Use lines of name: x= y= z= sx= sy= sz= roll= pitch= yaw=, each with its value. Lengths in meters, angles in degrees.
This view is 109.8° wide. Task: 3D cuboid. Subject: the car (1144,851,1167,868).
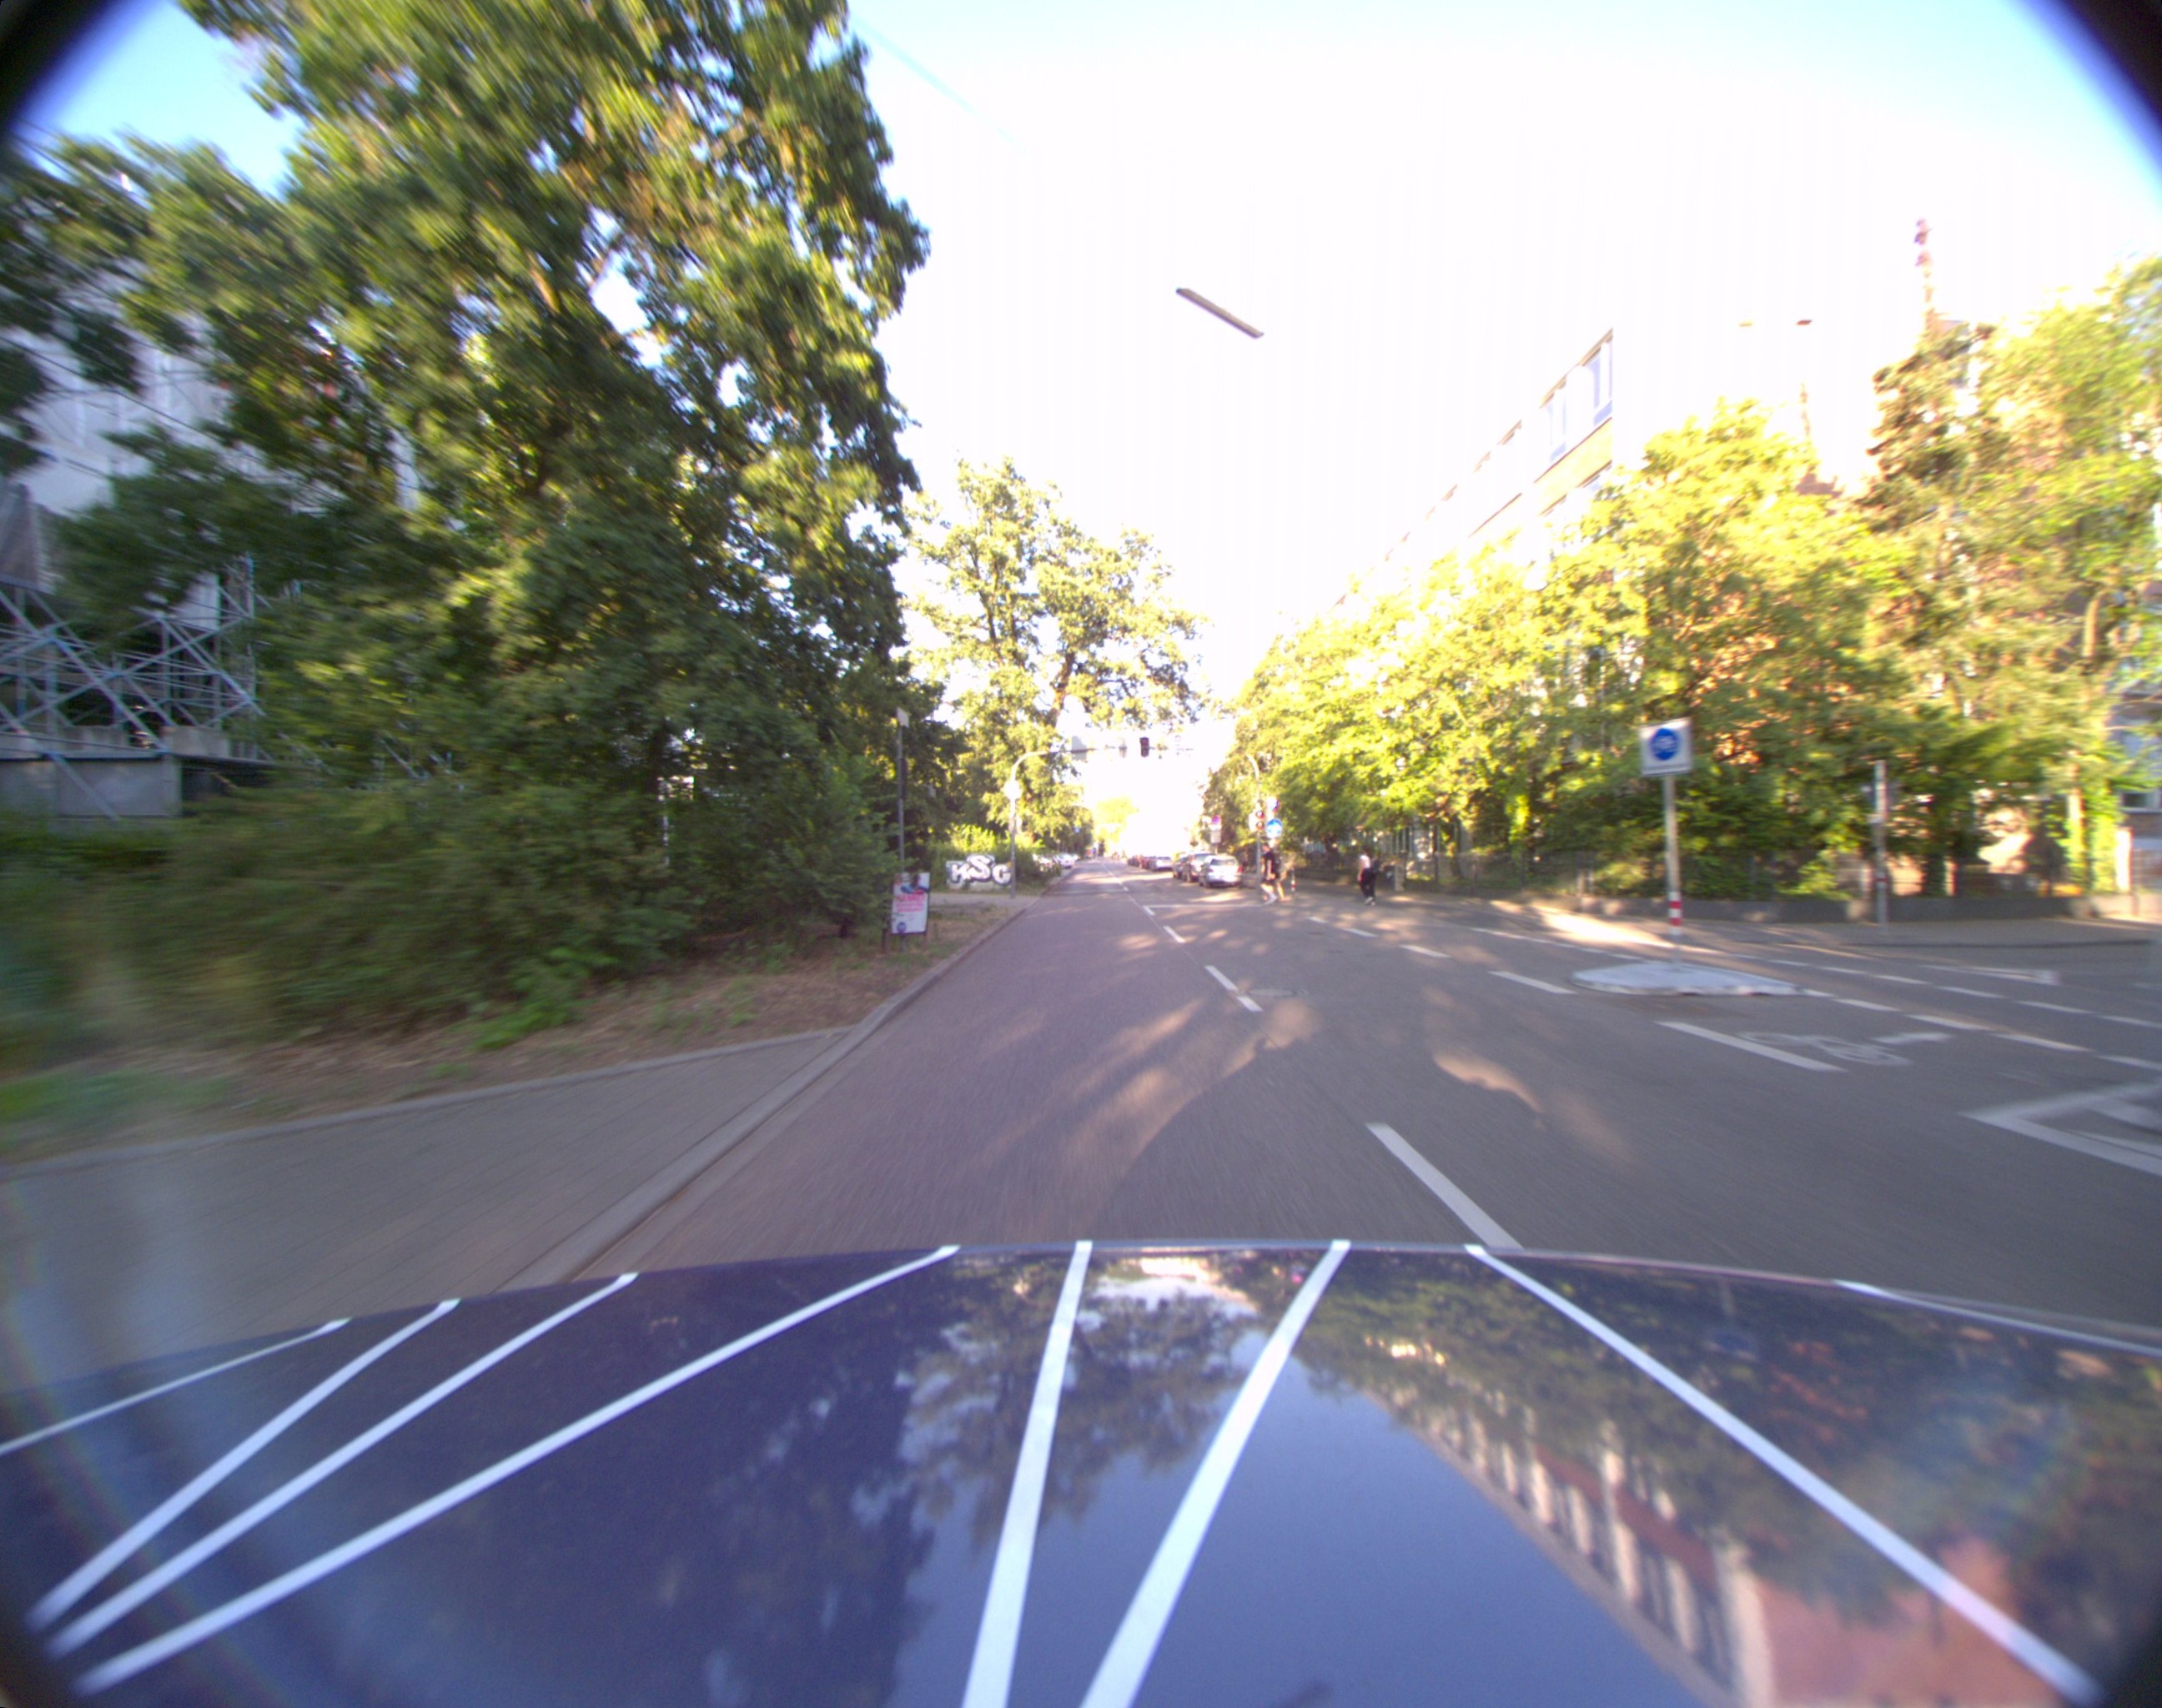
car: x=7.256 y=0.493 z=74.298 sx=1.776 sy=1.559 sz=4.108 roll=-2 pitch=0 yaw=1

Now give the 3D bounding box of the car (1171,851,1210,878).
car: x=6.689 y=0.614 z=46.782 sx=1.776 sy=1.559 sz=4.108 roll=-2 pitch=0 yaw=1

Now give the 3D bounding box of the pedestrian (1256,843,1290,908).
pedestrian: x=5.589 y=0.622 z=22.170 sx=0.784 sy=1.825 sz=0.672 roll=-3 pitch=1 yaw=4

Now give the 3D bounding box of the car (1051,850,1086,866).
car: x=-1.466 y=0.469 z=86.457 sx=2.003 sy=1.630 sz=3.990 roll=-3 pitch=1 yaw=-36

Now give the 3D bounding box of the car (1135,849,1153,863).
car: x=7.398 y=0.219 z=89.997 sx=1.776 sy=1.559 sz=4.108 roll=-2 pitch=0 yaw=1

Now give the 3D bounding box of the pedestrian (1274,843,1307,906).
pedestrian: x=6.258 y=0.592 z=22.744 sx=0.784 sy=1.825 sz=0.672 roll=-3 pitch=1 yaw=4

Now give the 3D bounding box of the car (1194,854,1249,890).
car: x=6.420 y=0.787 z=35.165 sx=1.776 sy=1.474 sz=4.108 roll=-2 pitch=0 yaw=1

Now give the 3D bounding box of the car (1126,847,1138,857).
car: x=8.443 y=-0.334 z=126.014 sx=1.776 sy=1.559 sz=4.108 roll=-2 pitch=0 yaw=1

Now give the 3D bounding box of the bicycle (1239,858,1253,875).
bicycle: x=9.939 y=0.754 z=45.853 sx=0.625 sy=1.008 sz=2.148 roll=0 pitch=0 yaw=6

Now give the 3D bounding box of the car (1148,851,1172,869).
car: x=7.229 y=0.504 z=69.776 sx=1.776 sy=1.559 sz=4.108 roll=-2 pitch=0 yaw=1

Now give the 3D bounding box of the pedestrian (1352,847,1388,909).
pedestrian: x=7.979 y=0.648 z=21.006 sx=0.672 sy=1.665 sz=0.785 roll=-3 pitch=0 yaw=4

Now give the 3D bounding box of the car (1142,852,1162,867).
car: x=7.481 y=0.553 z=80.083 sx=1.776 sy=1.559 sz=4.108 roll=-2 pitch=0 yaw=1

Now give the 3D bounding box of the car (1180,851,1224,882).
car: x=6.527 y=0.645 z=41.294 sx=1.776 sy=1.559 sz=4.108 roll=-2 pitch=0 yaw=1

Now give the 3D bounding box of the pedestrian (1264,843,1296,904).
pedestrian: x=6.152 y=0.589 z=23.523 sx=0.784 sy=1.825 sz=0.672 roll=-3 pitch=1 yaw=4

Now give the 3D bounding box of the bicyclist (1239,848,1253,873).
bicyclist: x=9.932 y=0.382 z=45.778 sx=0.751 sy=1.446 sz=1.060 roll=0 pitch=1 yaw=6

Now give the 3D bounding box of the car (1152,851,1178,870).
car: x=7.118 y=0.550 z=64.948 sx=1.776 sy=1.559 sz=4.108 roll=-2 pitch=0 yaw=1

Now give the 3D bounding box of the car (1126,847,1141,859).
car: x=7.182 y=-0.079 z=104.303 sx=1.776 sy=1.559 sz=4.108 roll=-2 pitch=0 yaw=1
